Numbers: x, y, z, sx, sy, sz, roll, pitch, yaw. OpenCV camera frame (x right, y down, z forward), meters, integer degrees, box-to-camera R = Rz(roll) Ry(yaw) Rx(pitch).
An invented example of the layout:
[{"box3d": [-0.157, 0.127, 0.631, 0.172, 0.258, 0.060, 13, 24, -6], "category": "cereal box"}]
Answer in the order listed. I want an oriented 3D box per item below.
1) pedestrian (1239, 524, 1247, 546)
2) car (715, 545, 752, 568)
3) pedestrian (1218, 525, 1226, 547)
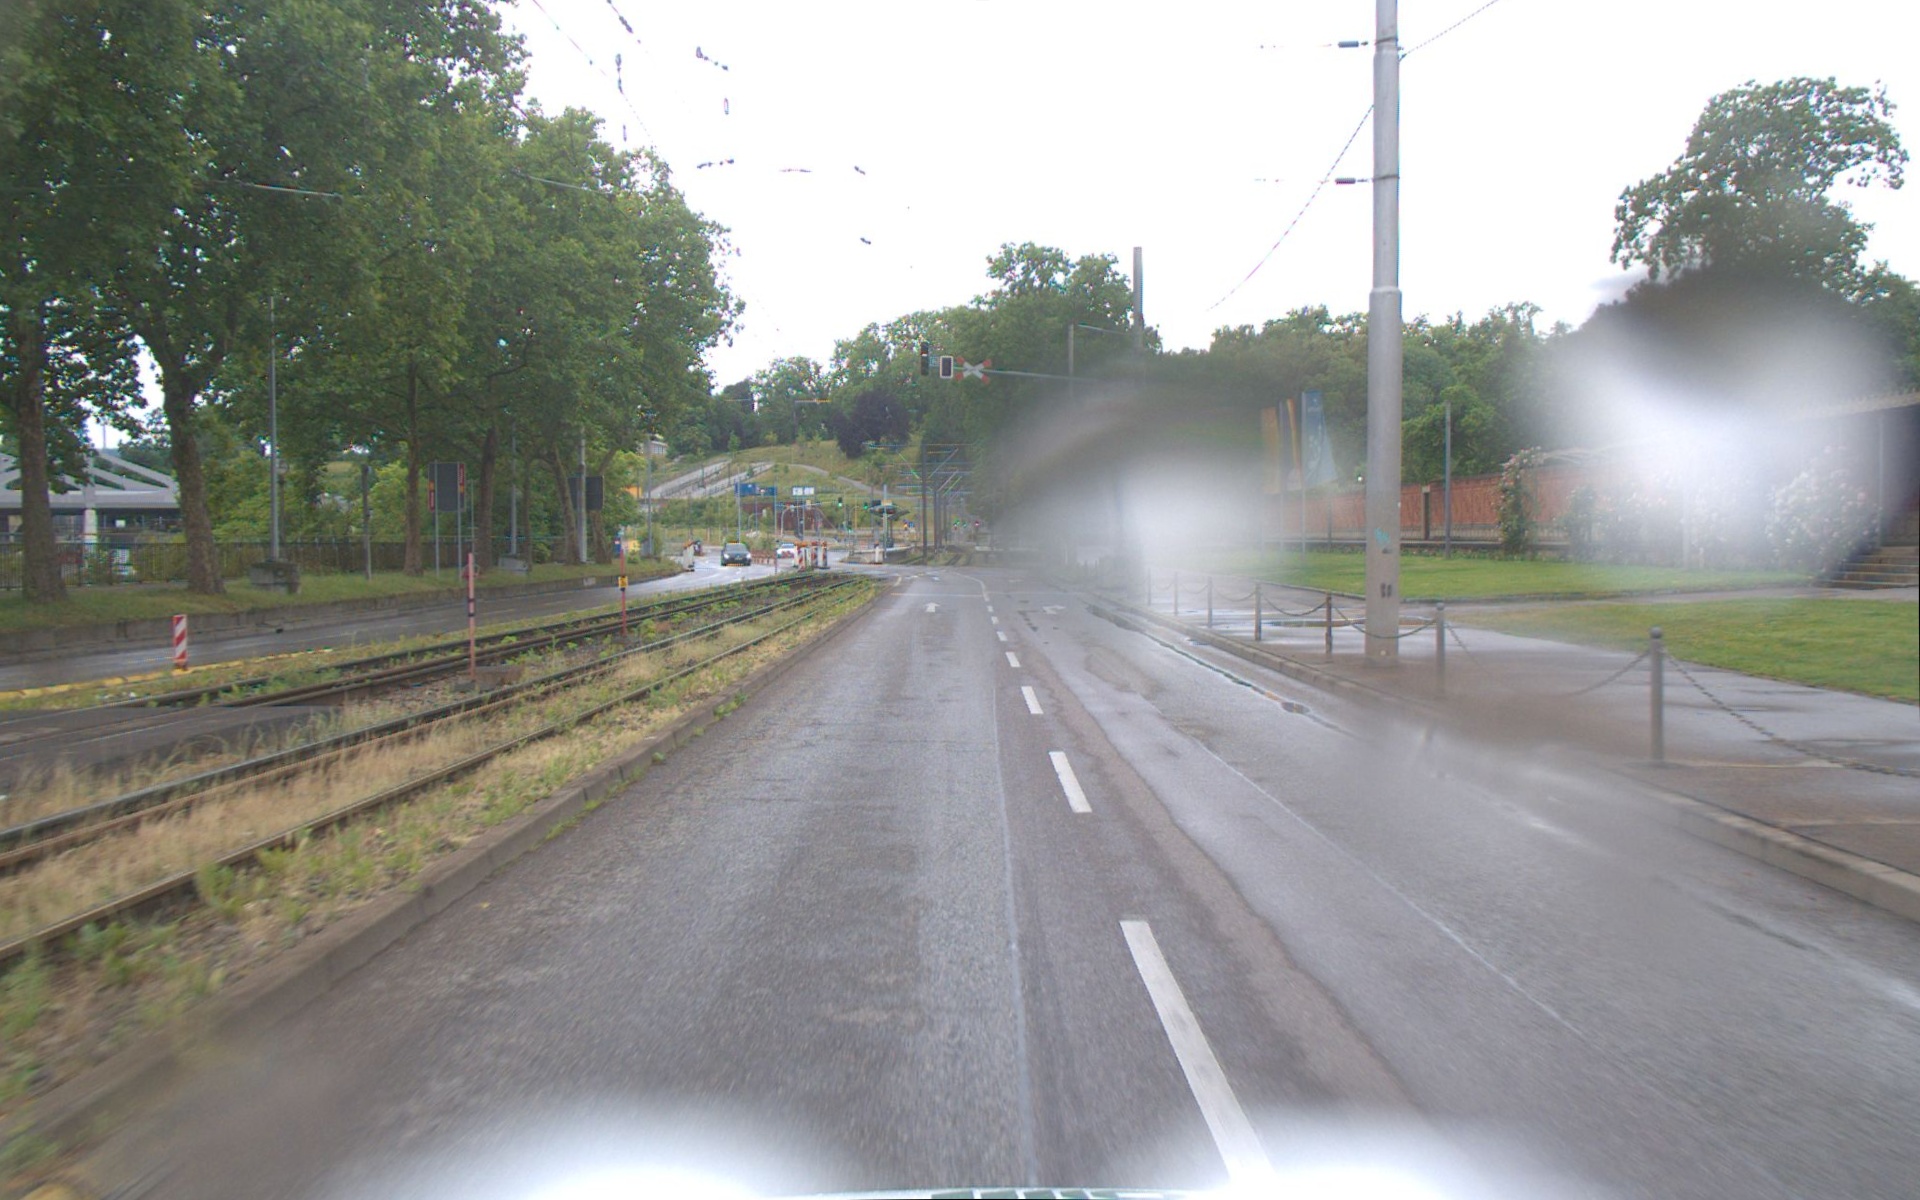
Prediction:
[{"box3d": [22.482, -5.168, 131.382, 0.540, 1.685, 0.468, 1, 1, 35], "category": "pedestrian"}, {"box3d": [-14.939, -2.868, 108.833, 1.718, 1.454, 4.540, -2, 2, -16], "category": "car"}, {"box3d": [20.982, -5.104, 132.484, 0.520, 1.740, 0.696, 2, 0, 12], "category": "pedestrian"}]
